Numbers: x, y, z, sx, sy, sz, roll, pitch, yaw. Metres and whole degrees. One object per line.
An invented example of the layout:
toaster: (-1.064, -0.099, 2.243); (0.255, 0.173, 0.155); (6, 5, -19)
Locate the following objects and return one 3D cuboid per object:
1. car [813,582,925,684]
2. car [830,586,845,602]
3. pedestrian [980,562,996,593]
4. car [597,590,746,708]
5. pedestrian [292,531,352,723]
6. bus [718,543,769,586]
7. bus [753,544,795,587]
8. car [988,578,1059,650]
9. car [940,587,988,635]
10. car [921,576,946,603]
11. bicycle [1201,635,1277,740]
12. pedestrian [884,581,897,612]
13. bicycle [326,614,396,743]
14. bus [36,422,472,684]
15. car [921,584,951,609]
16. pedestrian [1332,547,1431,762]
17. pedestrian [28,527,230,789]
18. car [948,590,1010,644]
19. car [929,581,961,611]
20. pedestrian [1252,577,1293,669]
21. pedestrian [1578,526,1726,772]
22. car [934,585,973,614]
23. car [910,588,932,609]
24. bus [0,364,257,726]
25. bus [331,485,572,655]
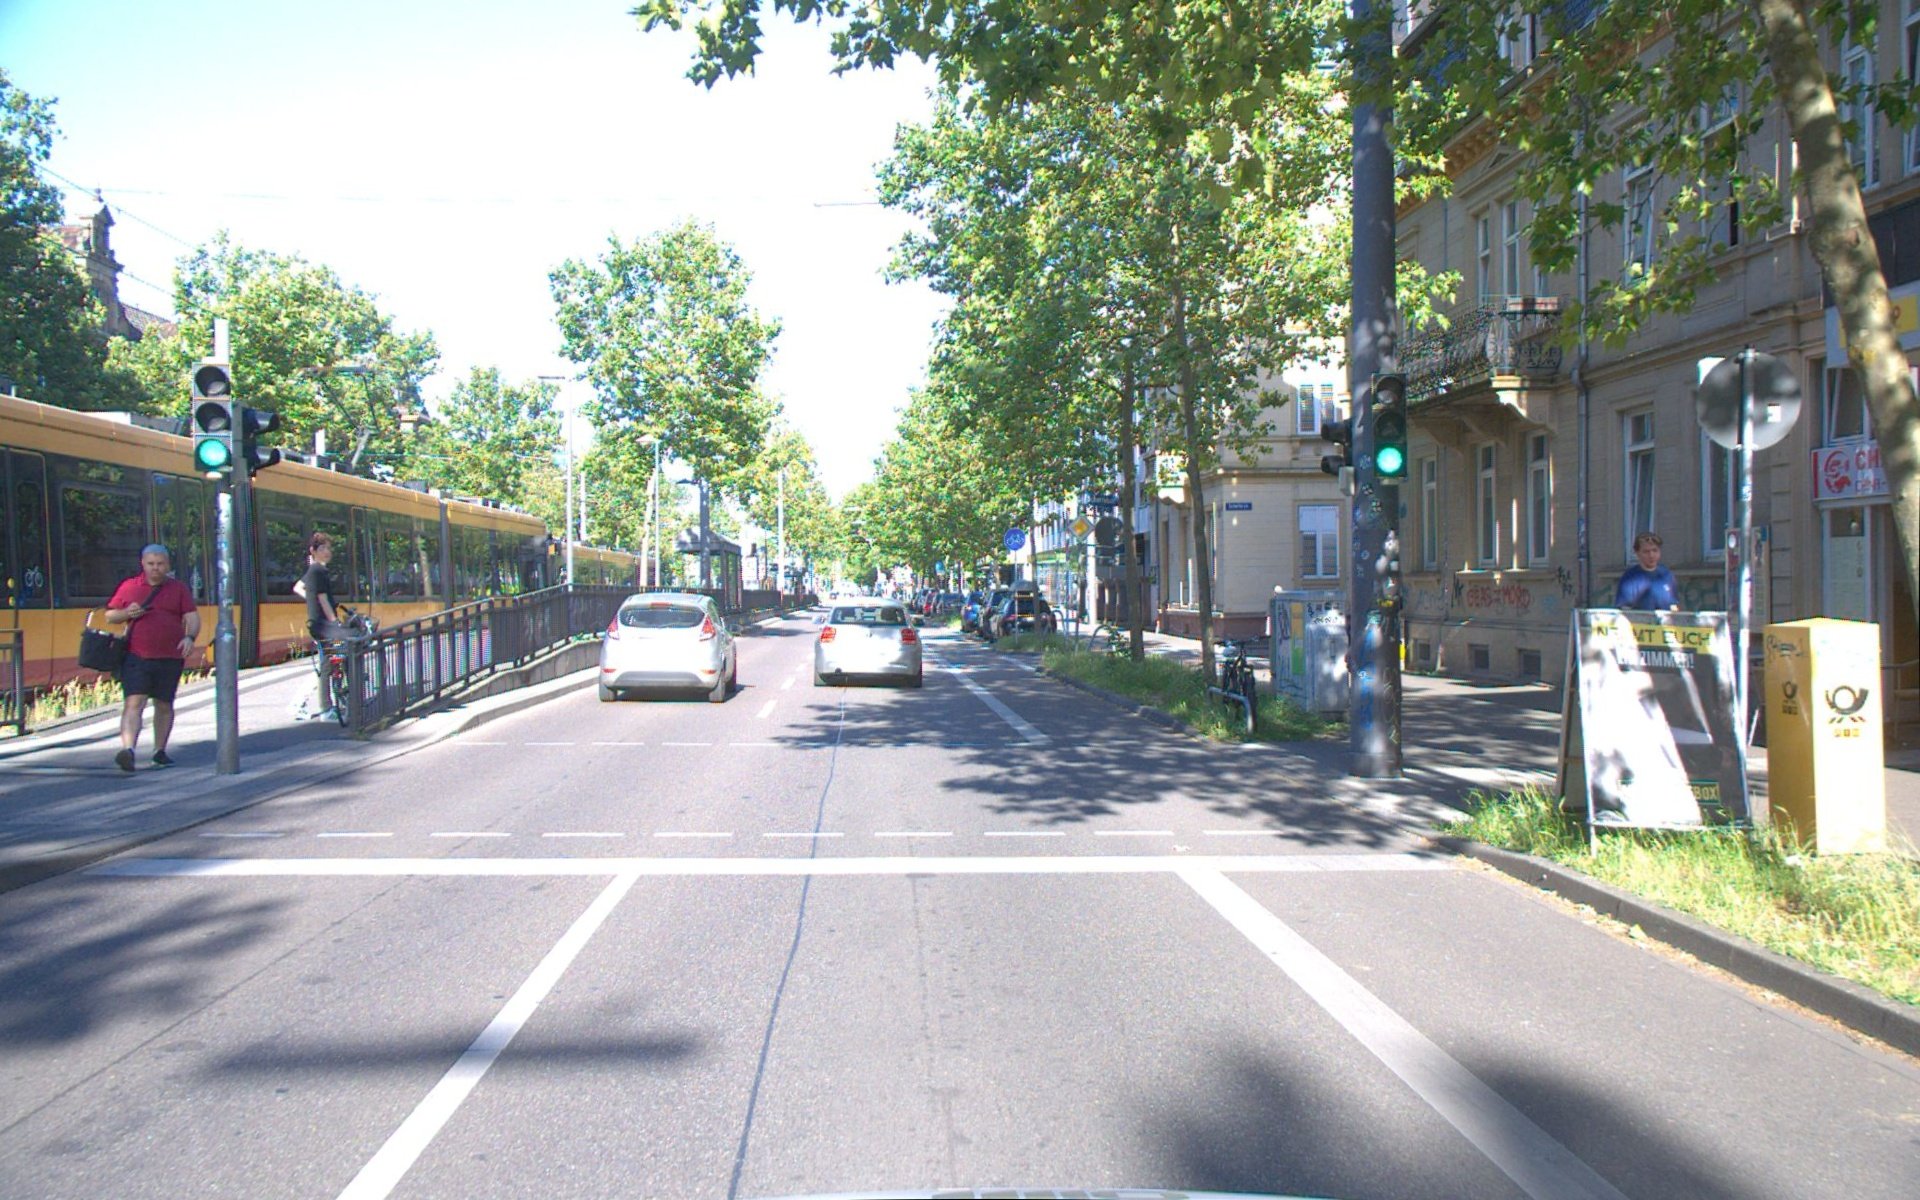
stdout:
car: (-1.554, 0.492, 27.840); (1.727, 1.457, 3.998); (1, 2, -4)
car: (-17.139, -0.834, 231.353); (1.954, 2.048, 3.998); (1, 2, -3)
pedestrian: (1.858, -1.499, 110.261); (0.944, 2.049, 0.938); (-1, 0, -3)
car: (-3.995, 0.632, 23.403); (1.614, 1.386, 3.758); (1, 2, -3)
pedestrian: (-6.554, 0.272, 17.014); (0.442, 1.936, 0.583); (-1, 0, -11)
bus: (-20.095, -3.472, 154.873); (2.812, 3.691, 24.593); (0, 2, -3)
bus: (-17.053, -3.281, 152.945); (2.695, 3.688, 18.839); (0, 2, -3)
car: (1.875, 0.374, 50.237); (1.720, 1.999, 4.735); (0, 2, -3)
car: (0.134, 0.403, 65.429); (1.658, 1.686, 4.037); (-1, 2, -4)
car: (-1.954, -0.813, 122.696); (1.690, 1.913, 3.998); (1, 1, -3)
bicycle: (3.027, 0.932, 18.071); (0.419, 0.987, 1.750); (1, 2, -3)
pedestrian: (-4.784, -0.248, 113.797); (0.821, 2.048, 0.649); (1, 2, 3)
bicycle: (-6.146, 0.774, 17.039); (0.322, 1.235, 1.825); (-1, 0, -9)
bus: (-11.345, -0.670, 28.501); (2.812, 3.504, 12.207); (-1, 0, -3)
car: (-1.555, -0.259, 107.099); (1.770, 1.547, 3.998); (1, 1, -3)
pedestrian: (3.656, 0.446, 14.392); (0.628, 1.802, 0.869); (1, 2, 3)
pedestrian: (-6.513, 0.433, 13.033); (1.051, 1.949, 1.125); (-1, 0, -5)
car: (0.607, 0.532, 56.032); (1.762, 1.730, 4.734); (-1, 0, -3)
car: (-0.902, -0.259, 96.887); (1.636, 1.578, 3.998); (1, 2, -3)
pedestrian: (6.485, 0.473, 34.354); (0.553, 1.858, 0.958); (1, 2, -7)
pedestrian: (5.962, 0.396, 14.302); (0.864, 2.048, 0.857); (1, 2, 0)
car: (-0.394, -0.049, 91.808); (1.954, 1.535, 4.595); (1, 1, -3)
car: (-3.289, -0.122, 138.865); (1.666, 1.560, 3.715); (1, 2, -3)
bus: (-10.681, -0.510, 15.874); (2.812, 3.504, 13.209); (-1, 0, -3)
bus: (-11.978, -0.658, 40.370); (2.812, 3.504, 11.604); (-1, 0, -3)
